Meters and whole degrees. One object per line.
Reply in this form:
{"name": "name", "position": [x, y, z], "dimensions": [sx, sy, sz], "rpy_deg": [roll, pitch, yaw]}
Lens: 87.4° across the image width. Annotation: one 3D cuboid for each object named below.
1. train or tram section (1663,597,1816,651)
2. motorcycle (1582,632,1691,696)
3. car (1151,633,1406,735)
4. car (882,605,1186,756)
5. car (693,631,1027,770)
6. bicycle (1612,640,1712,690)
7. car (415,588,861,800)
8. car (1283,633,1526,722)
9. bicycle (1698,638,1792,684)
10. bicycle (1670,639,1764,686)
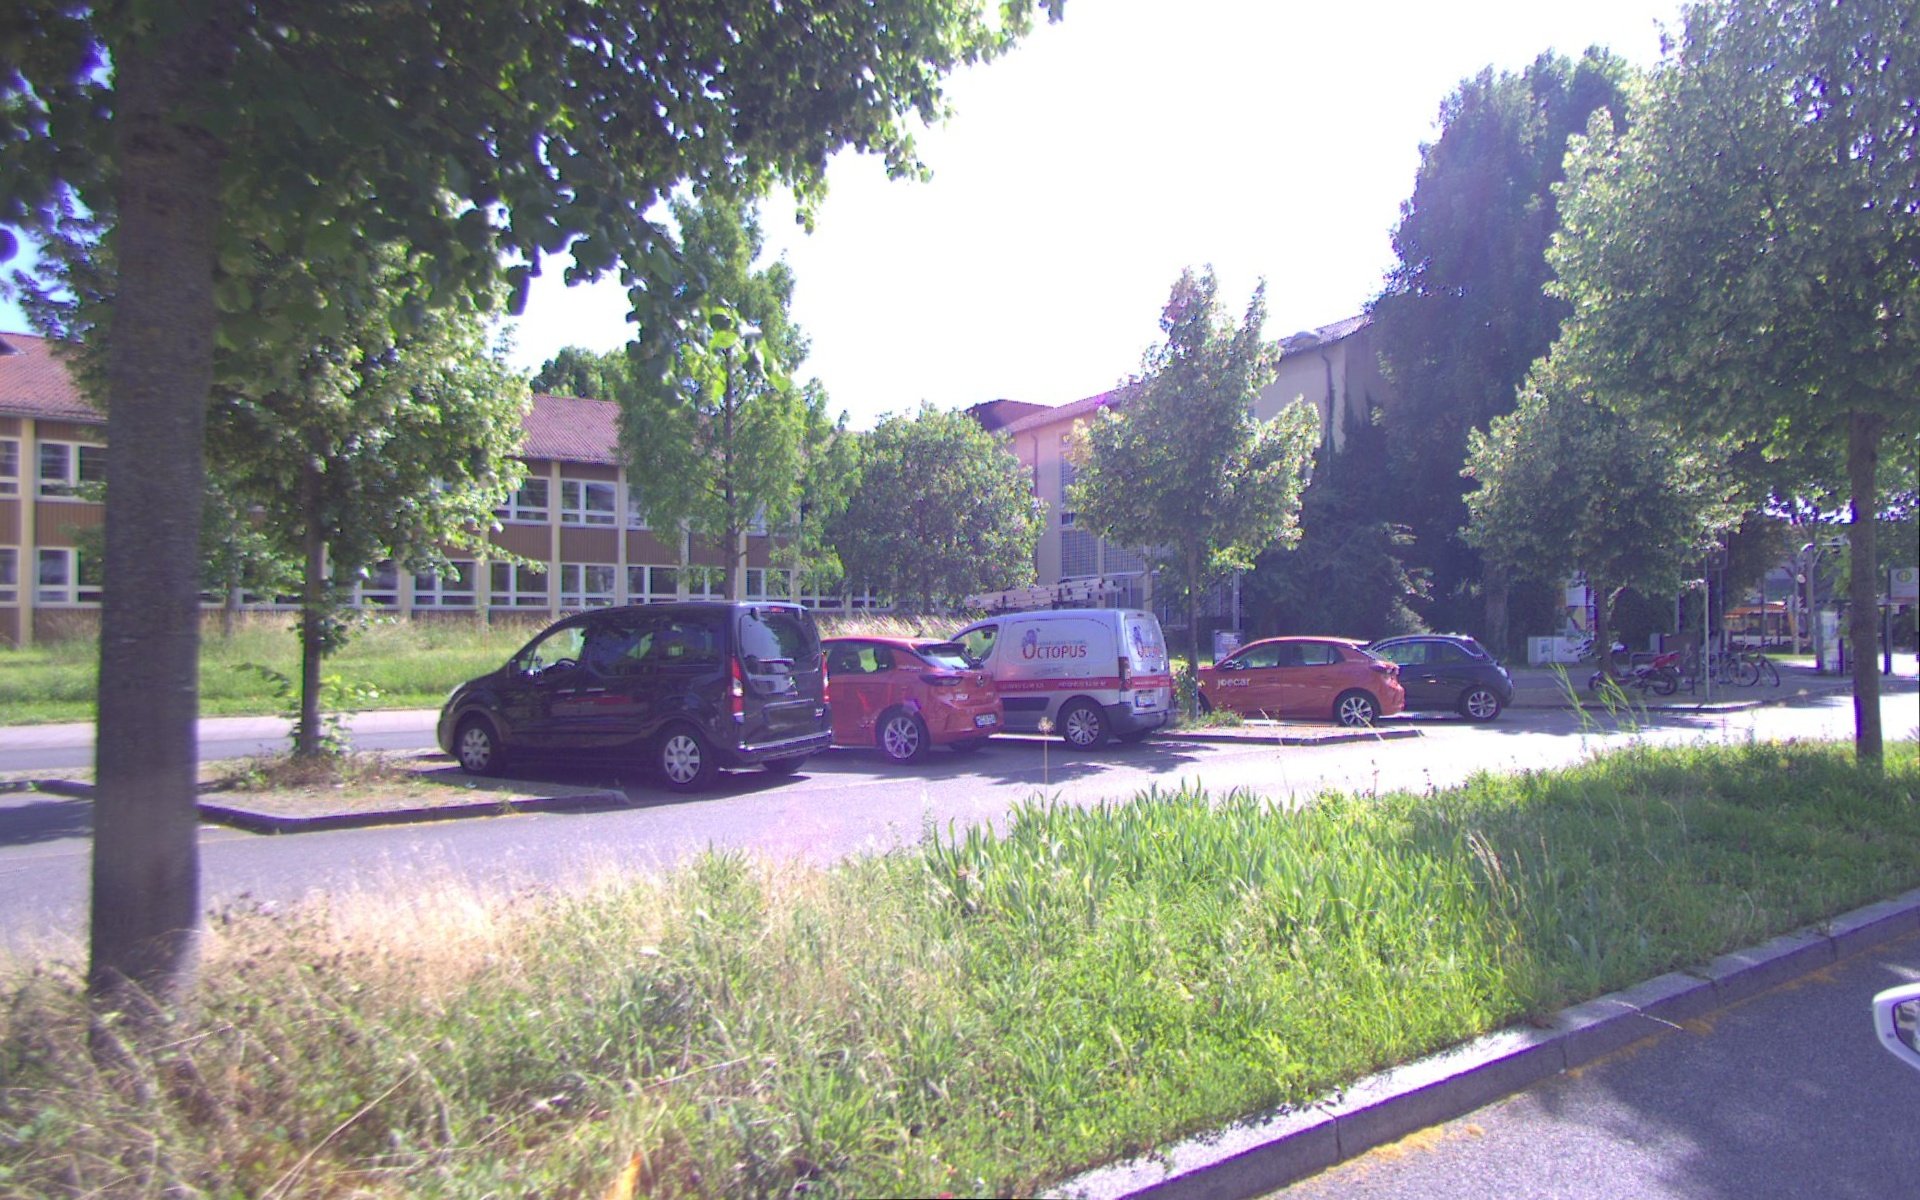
{"name": "train or tram section", "position": [52.124, 1.604, 67.403], "dimensions": [3.084, 3.376, 7.518], "rpy_deg": [1, -2, -31]}
{"name": "motorcycle", "position": [14.598, 1.350, 21.714], "dimensions": [0.686, 1.301, 1.832], "rpy_deg": [1, -1, -36]}
{"name": "car", "position": [5.164, 1.283, 16.284], "dimensions": [3.770, 1.442, 1.714], "rpy_deg": [0, -1, 25]}
{"name": "car", "position": [0.990, 0.989, 13.609], "dimensions": [3.706, 1.795, 1.816], "rpy_deg": [0, -1, 29]}
{"name": "car", "position": [-1.246, 1.132, 12.360], "dimensions": [3.707, 1.446, 1.853], "rpy_deg": [-1, -1, 29]}
{"name": "bicycle", "position": [16.613, 1.514, 23.828], "dimensions": [0.684, 1.106, 1.838], "rpy_deg": [1, -1, -28]}
{"name": "car", "position": [-3.326, 0.875, 10.459], "dimensions": [4.108, 1.840, 2.003], "rpy_deg": [-1, -1, 23]}
{"name": "car", "position": [7.683, 1.323, 17.706], "dimensions": [3.700, 1.442, 1.856], "rpy_deg": [-1, -3, 20]}
{"name": "bicycle", "position": [20.695, 1.580, 26.519], "dimensions": [0.684, 1.137, 1.838], "rpy_deg": [1, -1, -28]}
{"name": "bicycle", "position": [19.527, 1.589, 25.950], "dimensions": [0.684, 1.121, 1.838], "rpy_deg": [1, -1, -28]}
